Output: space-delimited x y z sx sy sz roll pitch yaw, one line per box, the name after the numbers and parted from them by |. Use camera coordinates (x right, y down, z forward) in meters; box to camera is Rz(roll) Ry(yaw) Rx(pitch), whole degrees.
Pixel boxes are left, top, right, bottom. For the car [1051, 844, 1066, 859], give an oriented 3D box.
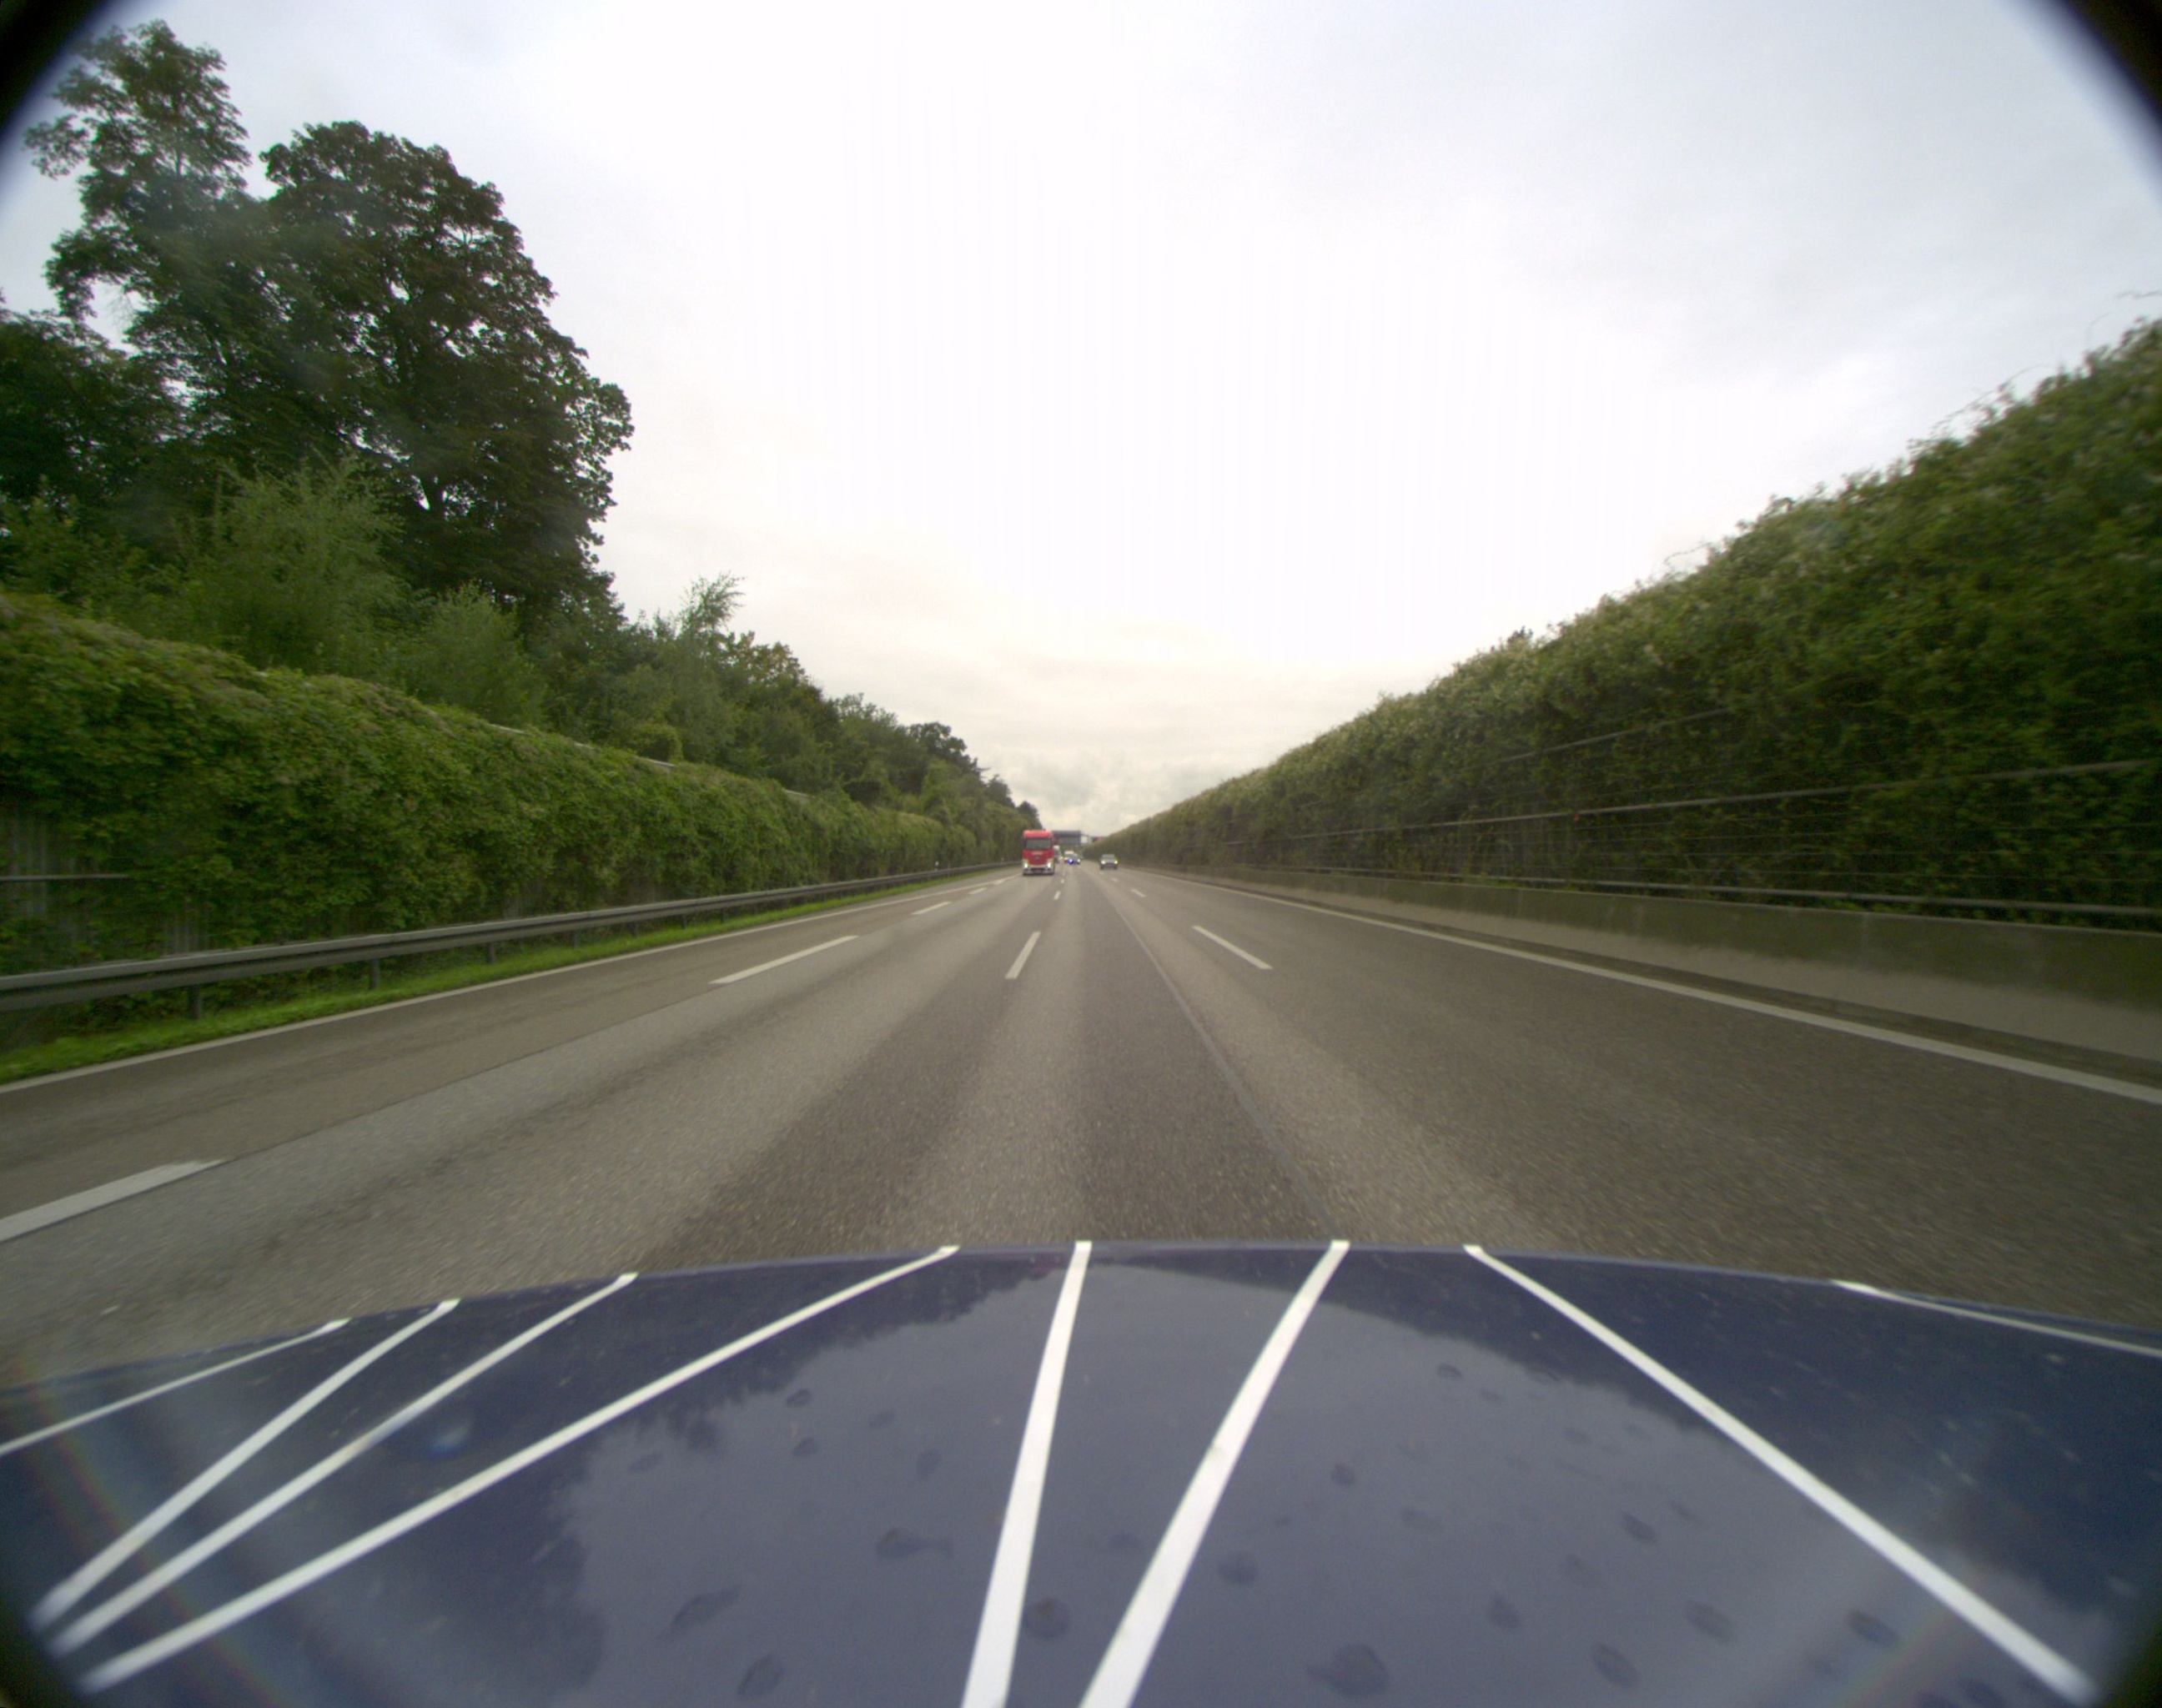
-4.963 -0.551 166.541 3.039 3.278 6.732 -2 1 -1 | car

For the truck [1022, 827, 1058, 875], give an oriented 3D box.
-3.363 -0.312 63.230 2.709 3.809 4.197 -1 2 0 | truck

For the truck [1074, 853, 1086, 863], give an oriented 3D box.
-0.194 0.651 131.479 1.825 1.535 3.998 -2 2 -1 | truck

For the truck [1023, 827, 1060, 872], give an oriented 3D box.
-3.375 -0.513 67.995 2.709 3.691 9.838 -1 2 0 | truck

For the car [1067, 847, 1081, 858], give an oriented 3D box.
-1.540 -0.287 156.994 2.769 2.227 6.545 -2 1 -1 | car

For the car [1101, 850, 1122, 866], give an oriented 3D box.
3.391 0.437 85.821 2.023 1.595 5.438 -3 1 -1 | car
